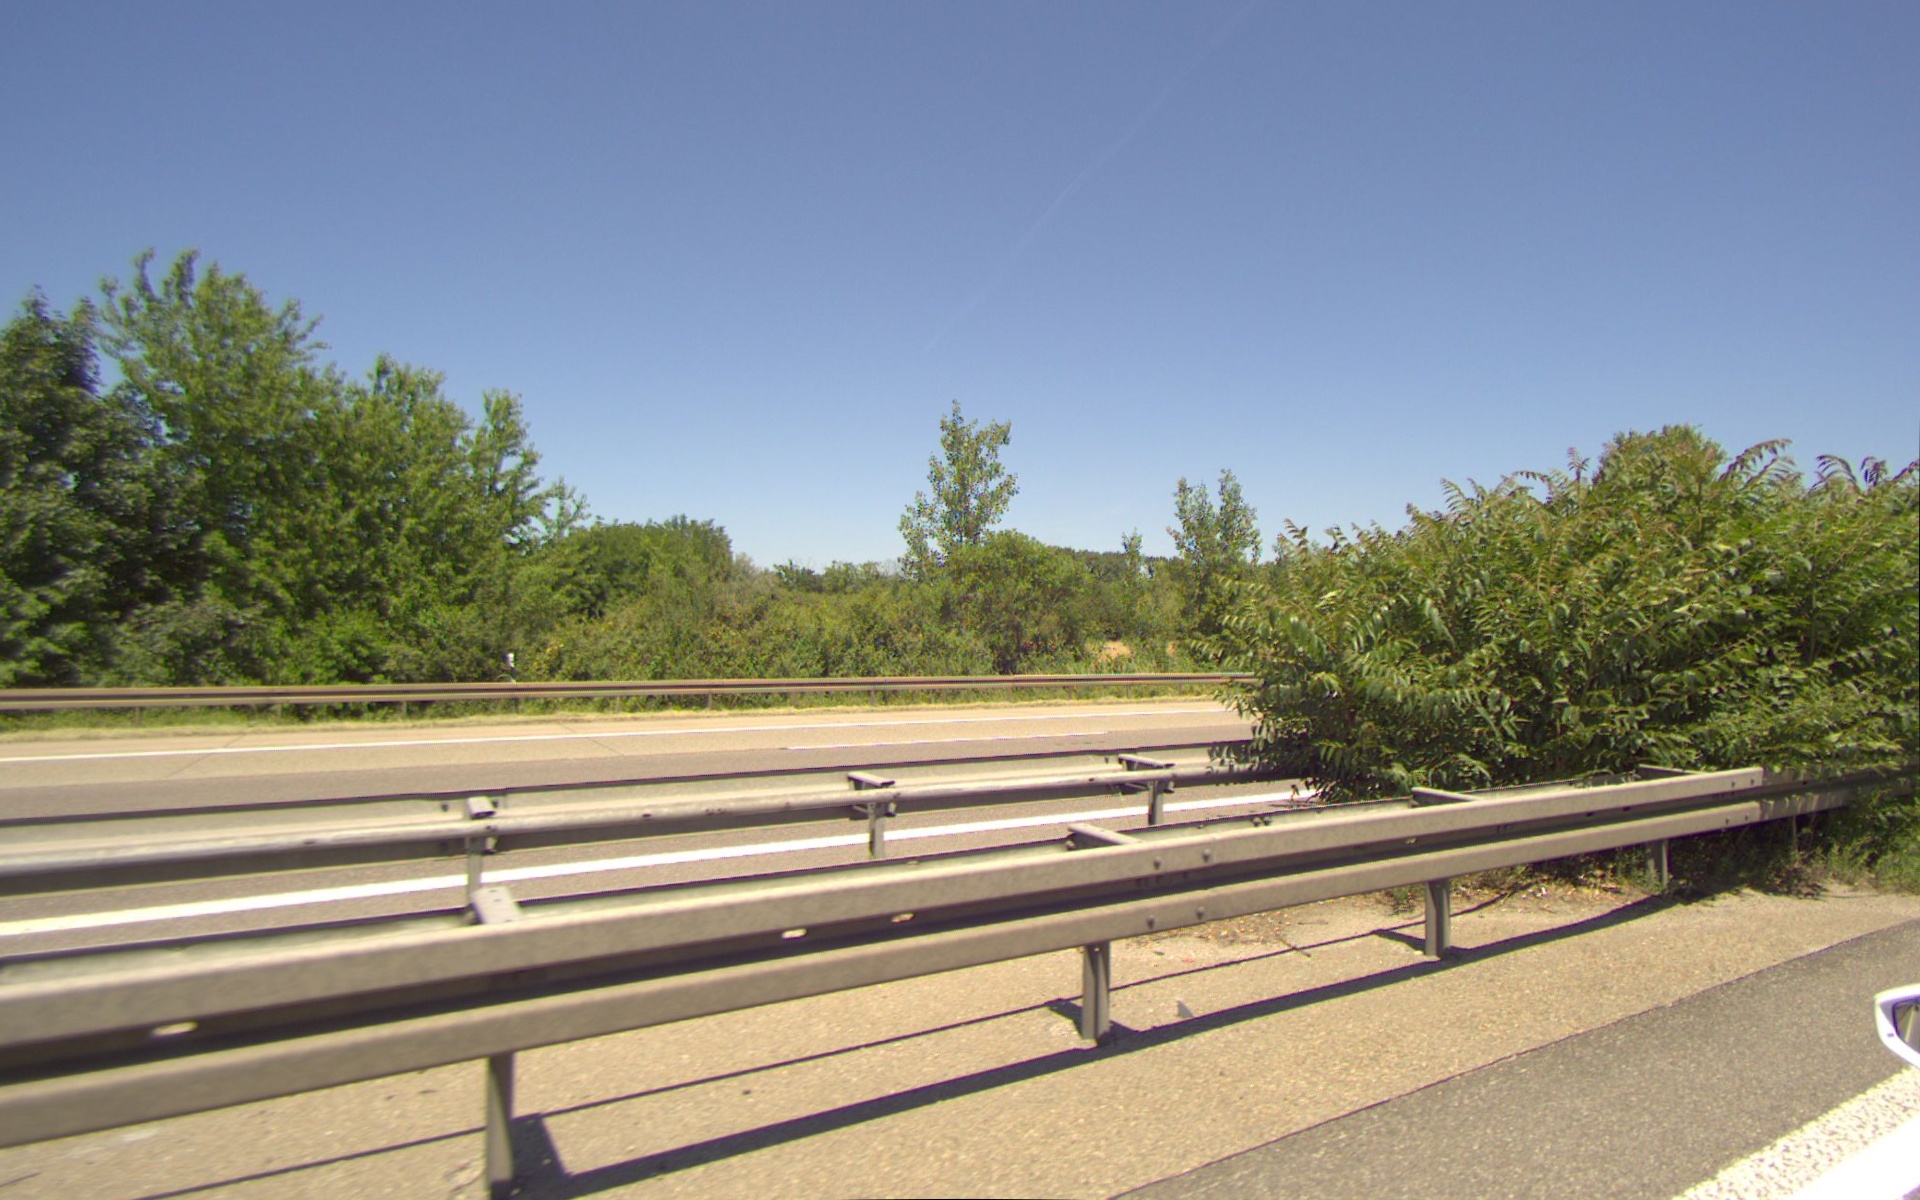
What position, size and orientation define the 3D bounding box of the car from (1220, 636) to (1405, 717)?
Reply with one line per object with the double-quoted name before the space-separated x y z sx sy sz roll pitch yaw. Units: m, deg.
"car" 8.454 1.759 24.000 4.237 1.739 1.915 1 -2 -30
